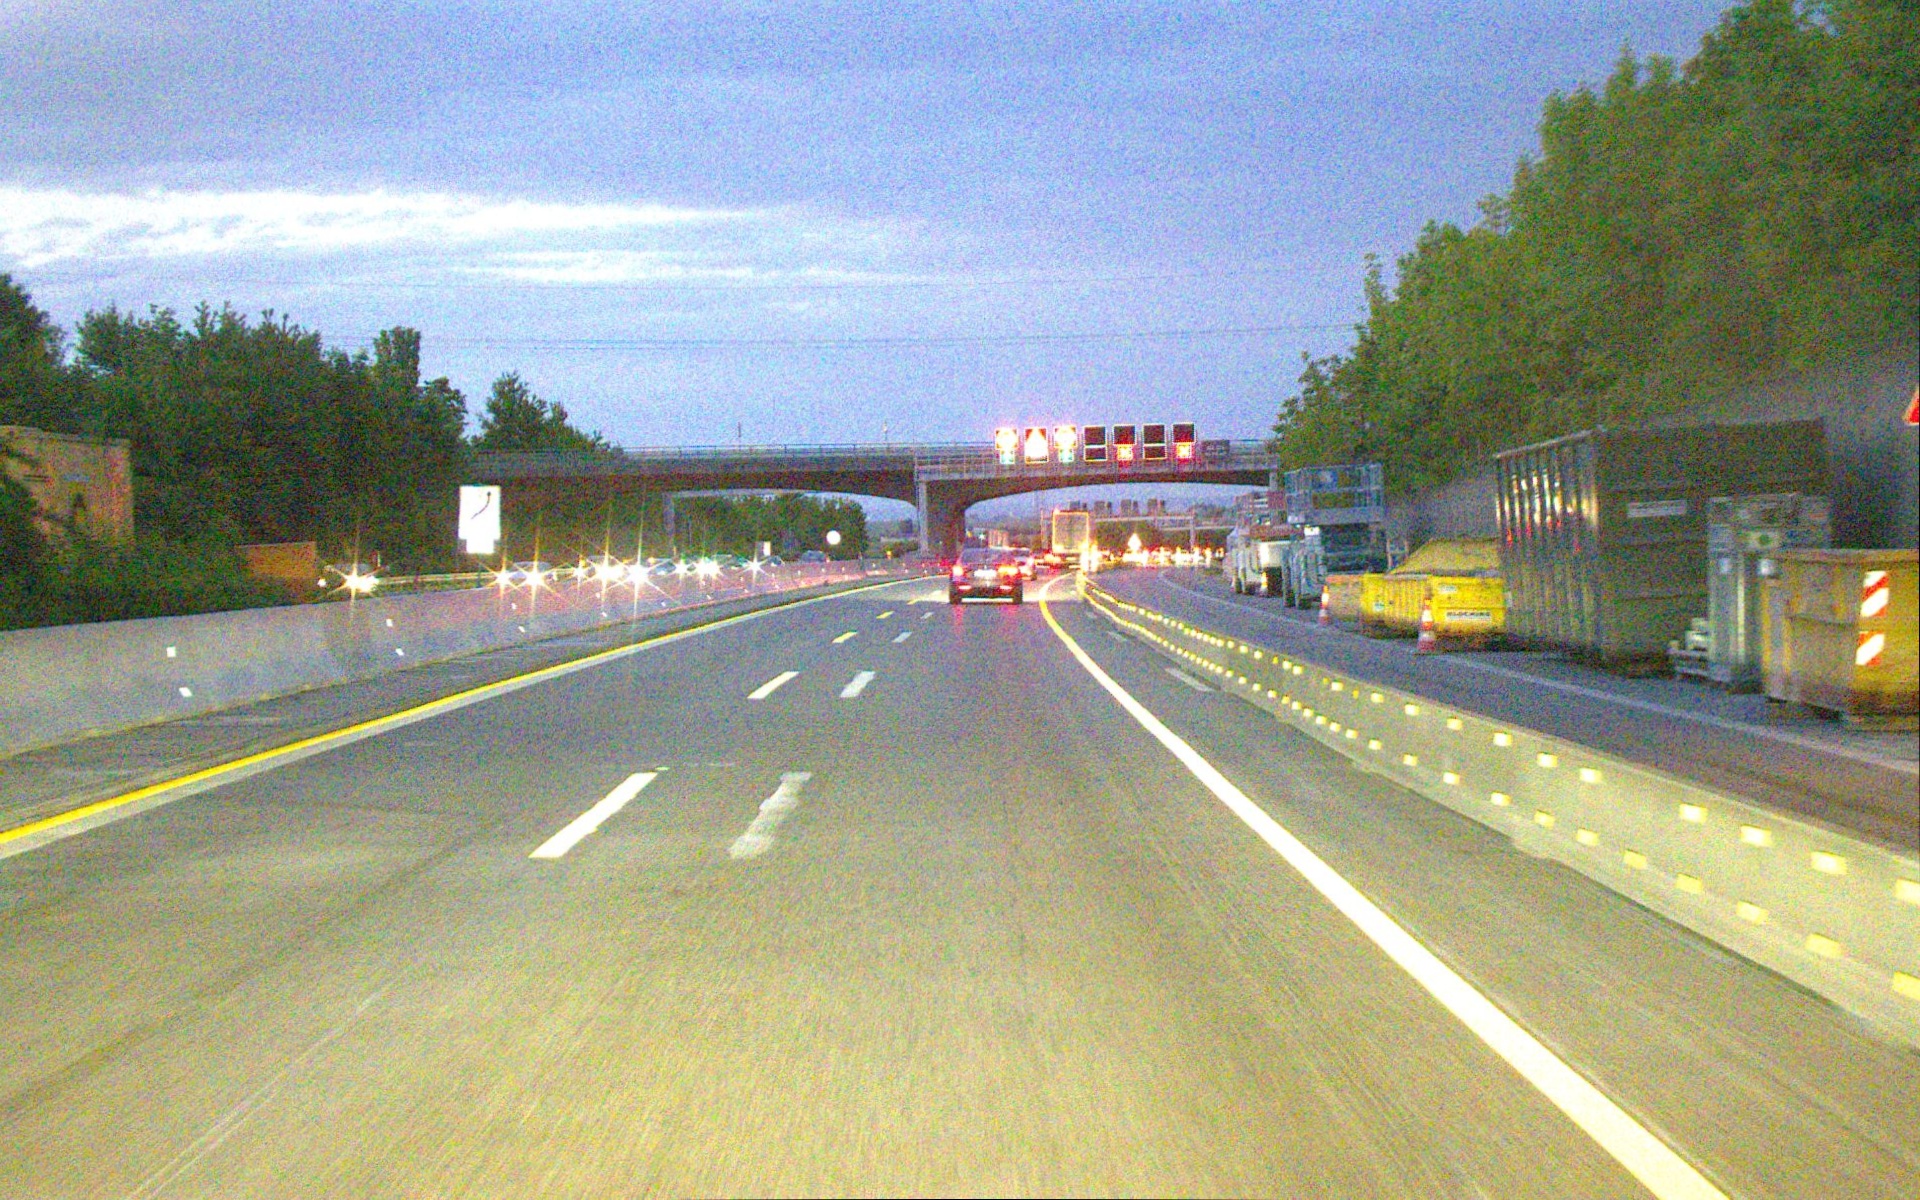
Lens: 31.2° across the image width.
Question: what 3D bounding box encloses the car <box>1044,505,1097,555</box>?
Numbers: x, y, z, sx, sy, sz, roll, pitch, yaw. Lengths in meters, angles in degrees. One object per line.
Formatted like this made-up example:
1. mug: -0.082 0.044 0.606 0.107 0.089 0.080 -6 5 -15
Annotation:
1. car: 7.783 -4.892 241.326 3.605 3.384 8.013 1 1 3

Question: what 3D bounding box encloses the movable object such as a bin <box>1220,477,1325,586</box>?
1. movable object such as a bin: 9.246 -2.003 102.088 2.621 3.097 5.806 -1 1 1

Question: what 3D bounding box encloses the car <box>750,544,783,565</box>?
1. car: -13.717 -3.215 243.718 1.810 1.480 4.701 1 1 3

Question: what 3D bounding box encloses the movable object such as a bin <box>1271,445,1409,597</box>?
1. movable object such as a bin: 8.693 -1.781 79.137 2.564 3.306 5.579 -2 1 1

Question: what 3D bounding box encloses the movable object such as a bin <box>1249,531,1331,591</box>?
1. movable object such as a bin: 9.293 -1.081 97.135 1.993 1.596 4.084 -2 0 2

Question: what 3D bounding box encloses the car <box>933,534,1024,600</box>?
1. car: 0.487 -0.840 88.088 2.265 1.616 4.000 1 1 1

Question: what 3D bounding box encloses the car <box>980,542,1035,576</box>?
1. car: 2.071 -1.789 149.330 1.972 1.432 3.999 1 1 6

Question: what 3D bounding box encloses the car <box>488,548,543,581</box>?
1. car: -20.848 -1.664 161.406 1.673 1.465 4.646 1 1 4
